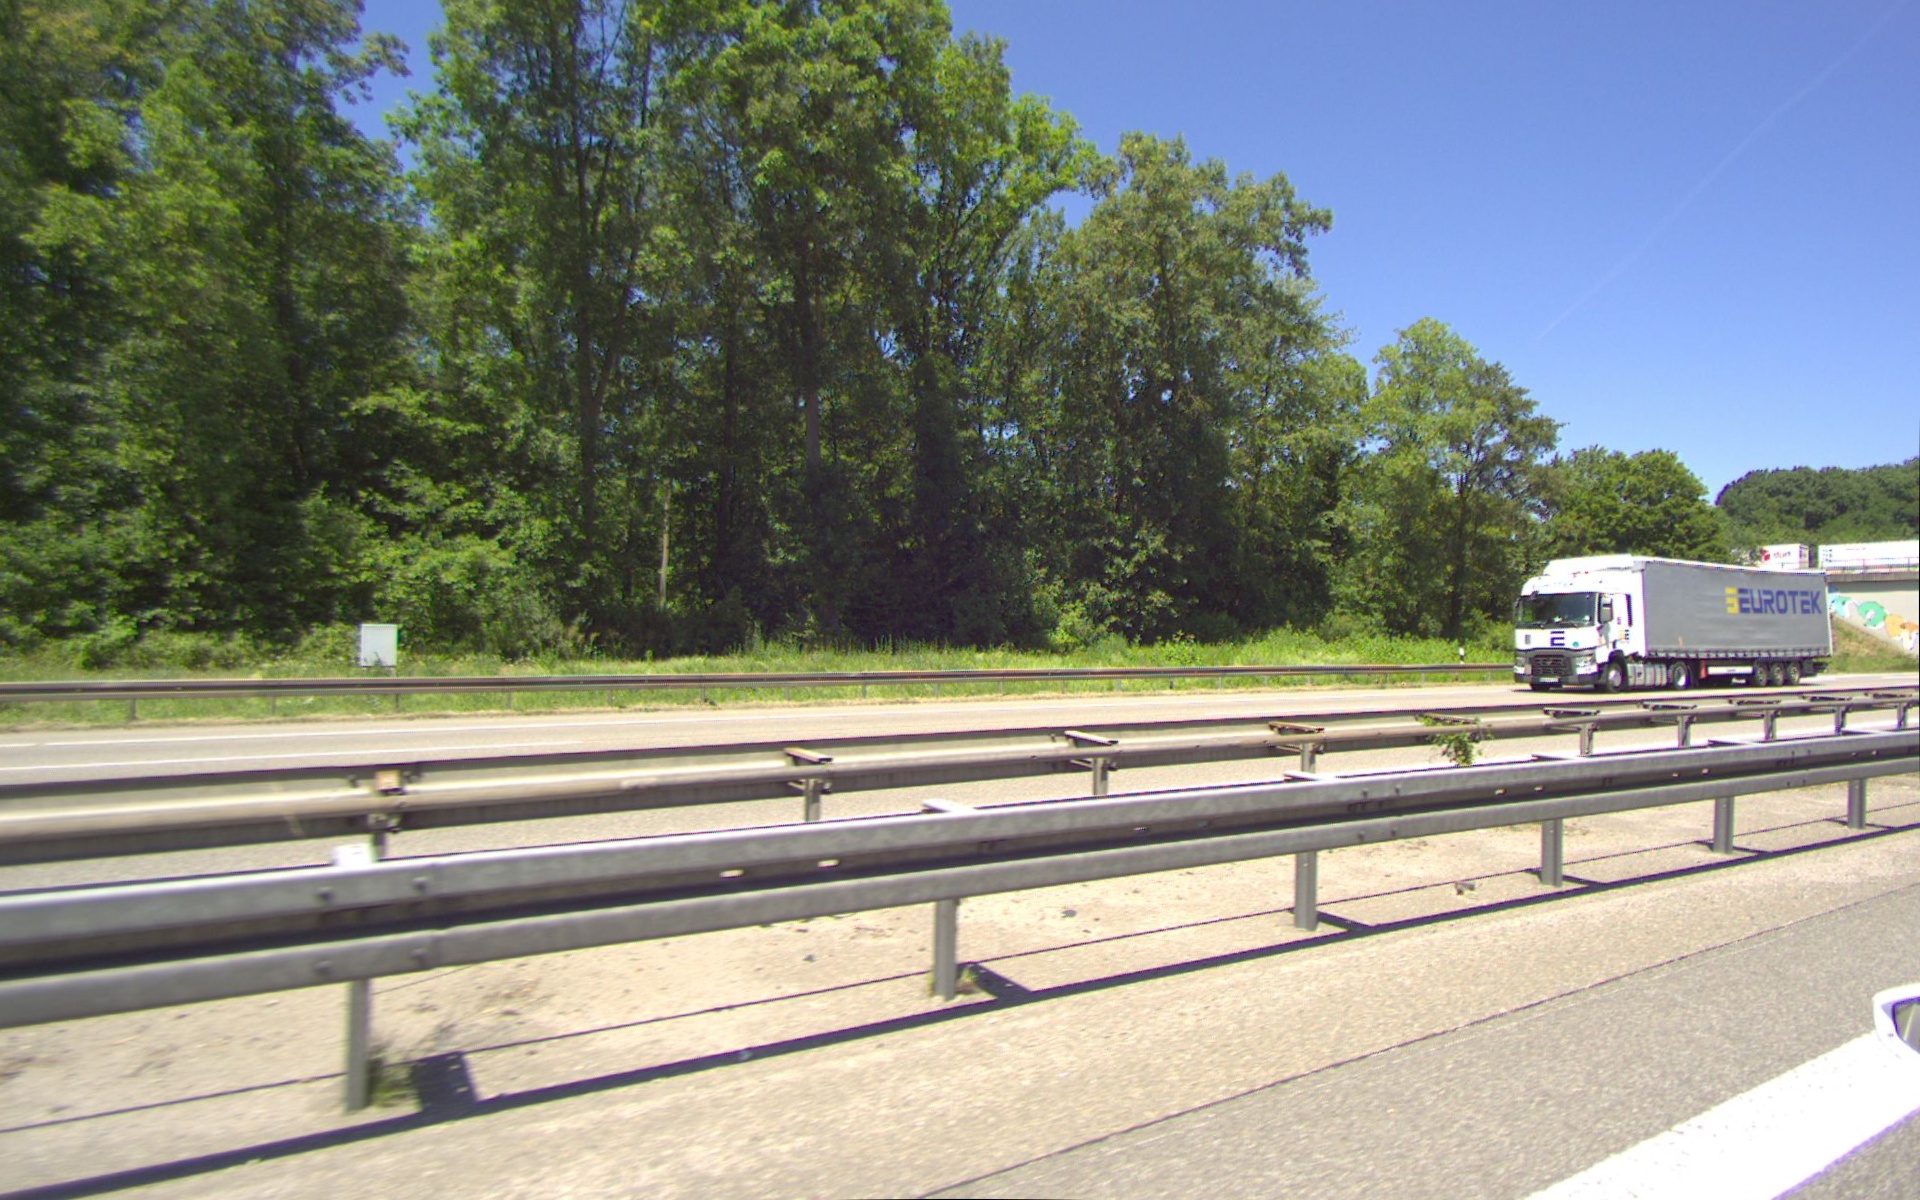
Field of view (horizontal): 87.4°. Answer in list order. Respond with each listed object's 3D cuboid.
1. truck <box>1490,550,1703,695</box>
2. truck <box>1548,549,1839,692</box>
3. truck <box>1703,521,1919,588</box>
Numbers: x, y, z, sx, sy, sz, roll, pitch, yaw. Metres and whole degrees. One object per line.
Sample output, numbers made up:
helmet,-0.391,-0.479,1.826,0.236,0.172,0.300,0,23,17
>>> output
truck,19.946,0.800,31.438,6.383,4.114,2.956,2,-4,-30
truck,25.919,0.892,35.065,13.802,4.306,3.051,2,-4,-31
truck,78.599,-3.966,92.230,3.145,5.639,16.342,2,0,-36
